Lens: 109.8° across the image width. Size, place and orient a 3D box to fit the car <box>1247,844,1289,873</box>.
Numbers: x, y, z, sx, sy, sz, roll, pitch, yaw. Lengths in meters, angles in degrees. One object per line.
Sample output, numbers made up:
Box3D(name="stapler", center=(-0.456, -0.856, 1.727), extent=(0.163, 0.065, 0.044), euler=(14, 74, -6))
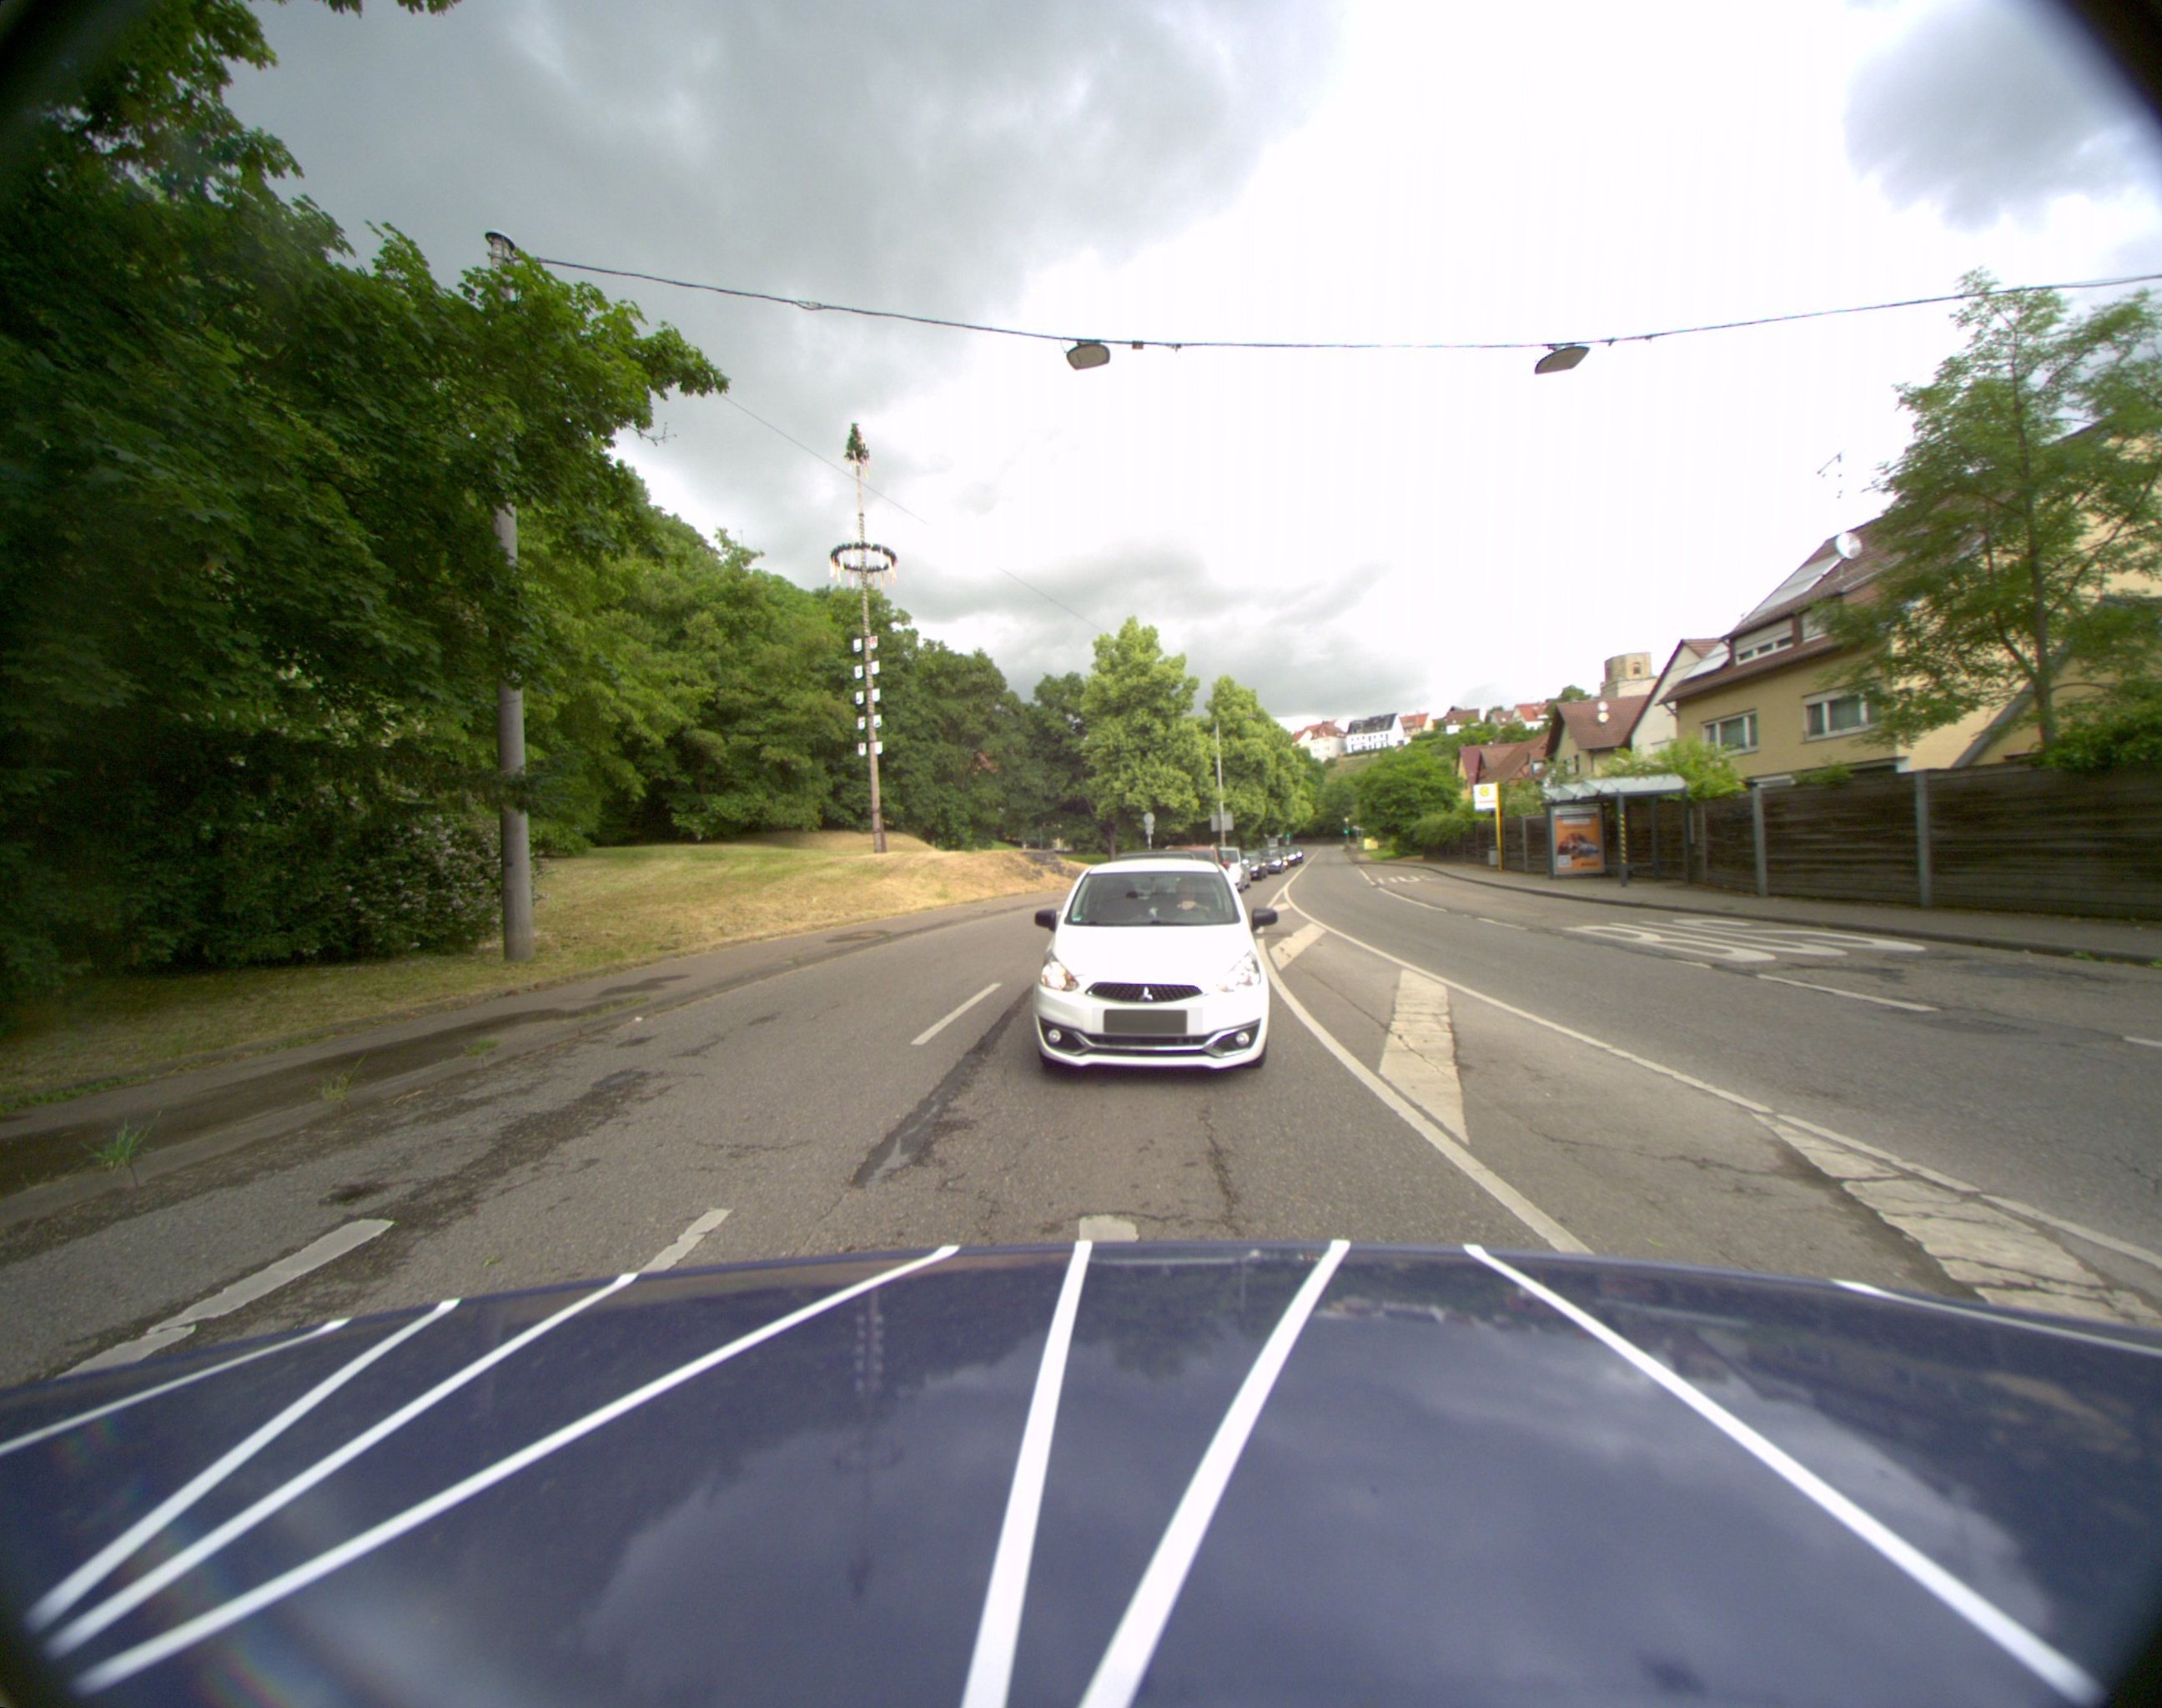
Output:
Box3D(name="car", center=(10.317, 0.221, 41.660), extent=(1.694, 1.403, 3.987), euler=(-2, 1, 21))

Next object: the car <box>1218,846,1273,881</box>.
Box3D(name="car", center=(7.759, 0.391, 35.549), extent=(1.851, 1.449, 4.005), euler=(-2, 1, 21))

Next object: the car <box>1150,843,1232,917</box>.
Box3D(name="car", center=(2.914, 0.577, 19.427), extent=(1.673, 1.632, 4.104), euler=(-2, 1, 13))

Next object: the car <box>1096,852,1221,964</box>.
Box3D(name="car", center=(1.365, 0.773, 12.802), extent=(1.729, 1.512, 4.002), euler=(-2, 1, 8))

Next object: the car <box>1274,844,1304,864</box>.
Box3D(name="car", center=(14.644, -0.005, 53.425), extent=(1.642, 1.262, 3.630), euler=(-2, 1, 21))

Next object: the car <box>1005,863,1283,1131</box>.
Box3D(name="car", center=(0.602, 0.906, 6.597), extent=(1.627, 1.499, 4.001), euler=(-2, 1, 7))

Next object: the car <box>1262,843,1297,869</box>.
Box3D(name="car", center=(12.553, 0.096, 48.020), extent=(1.704, 1.438, 3.872), euler=(-2, 1, 21))

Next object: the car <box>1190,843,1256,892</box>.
Box3D(name="car", center=(5.170, 0.448, 27.326), extent=(1.781, 1.560, 4.005), euler=(-2, 1, 18))

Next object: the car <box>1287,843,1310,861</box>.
Box3D(name="car", center=(17.028, -0.173, 59.502), extent=(1.417, 1.242, 3.300), euler=(-2, 1, 21))
